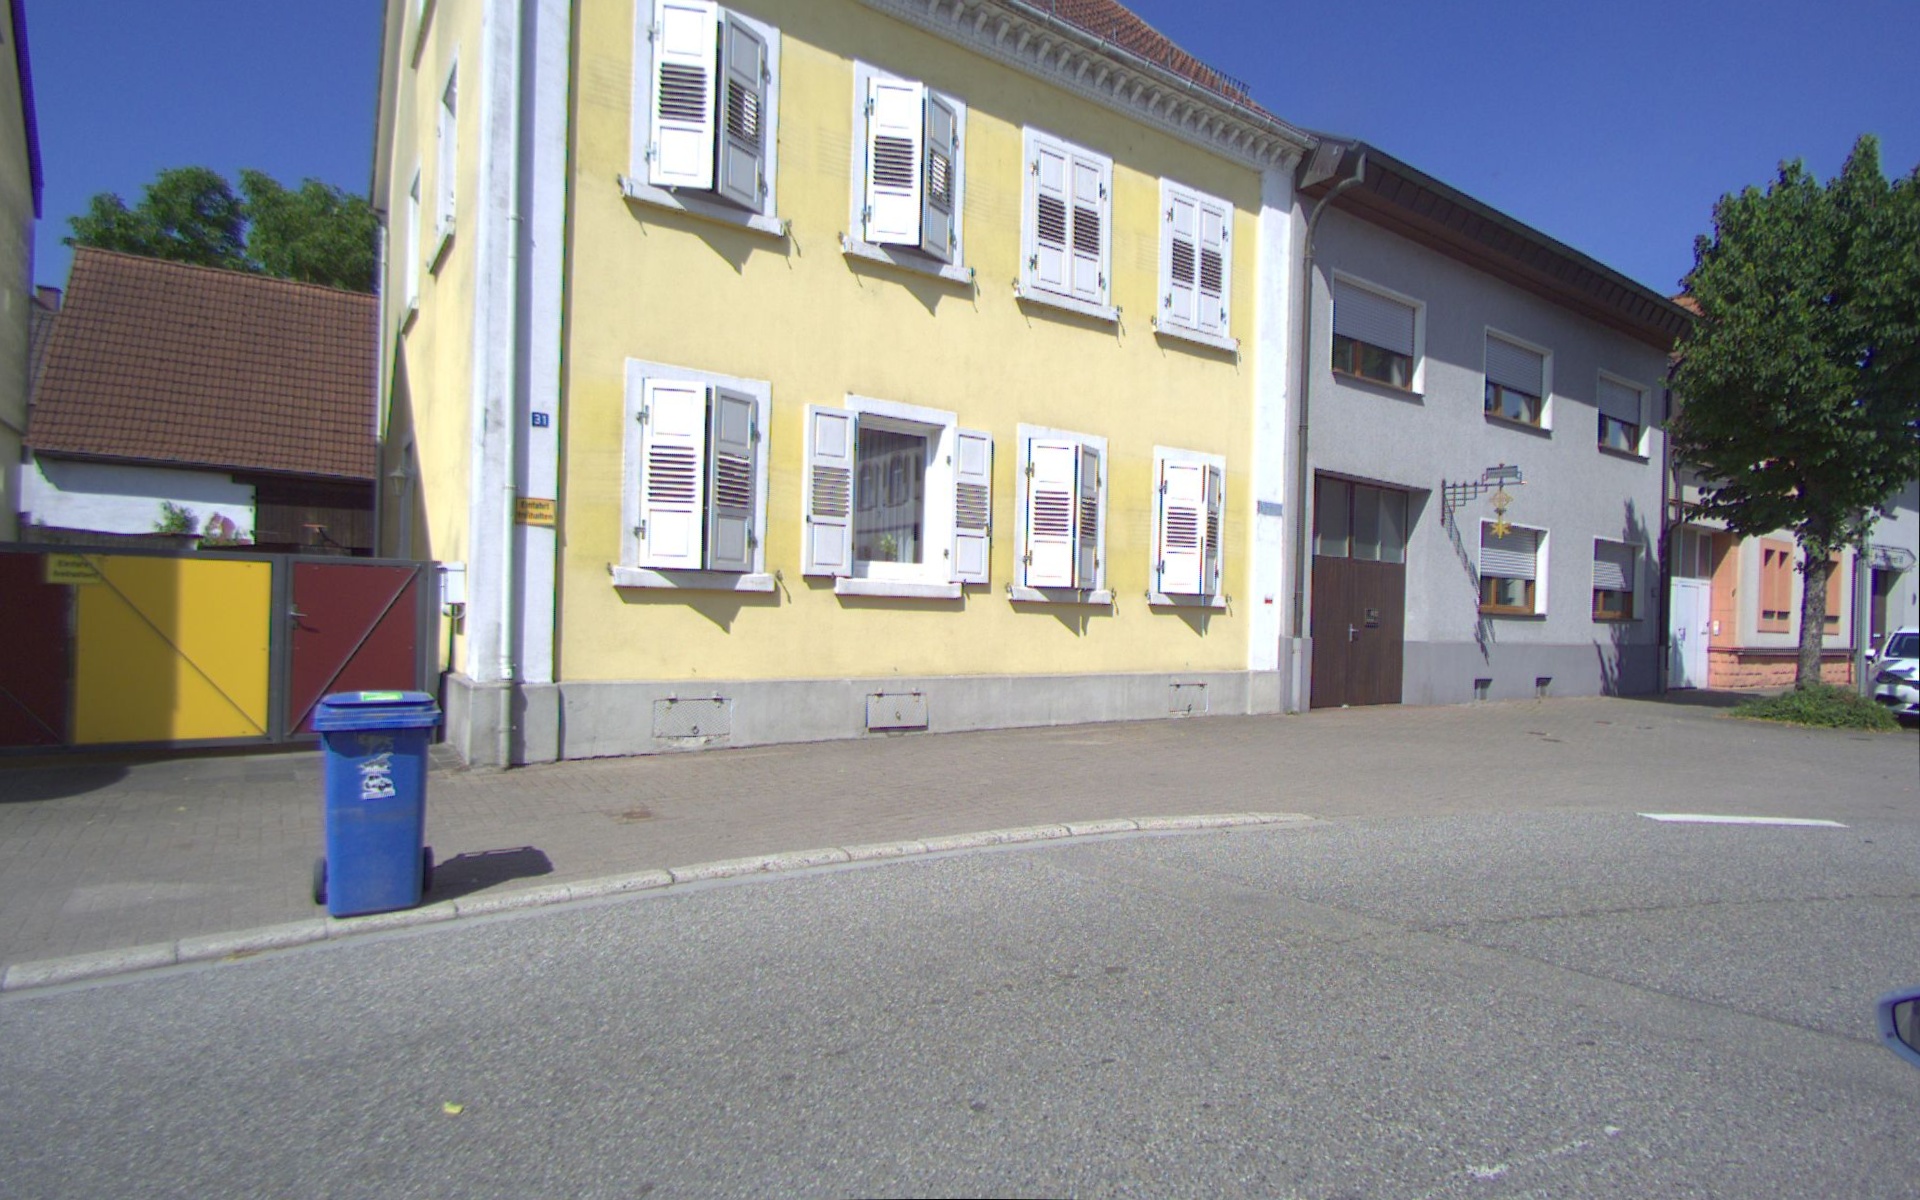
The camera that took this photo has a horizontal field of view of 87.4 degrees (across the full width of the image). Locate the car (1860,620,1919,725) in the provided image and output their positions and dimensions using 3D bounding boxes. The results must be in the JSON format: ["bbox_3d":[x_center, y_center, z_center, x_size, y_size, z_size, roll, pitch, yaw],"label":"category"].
[{"bbox_3d":[15.259,1.083,15.637,1.829,1.459,4.488,1,-1,42],"label":"car"}]

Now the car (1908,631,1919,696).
[{"bbox_3d":[24.099,1.513,23.843,5.173,1.459,1.966,2,-1,-43],"label":"car"}]

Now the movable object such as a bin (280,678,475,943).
[{"bbox_3d":[-2.591,0.877,4.464,0.609,0.994,0.636,1,0,-43],"label":"movable object such as a bin"}]
